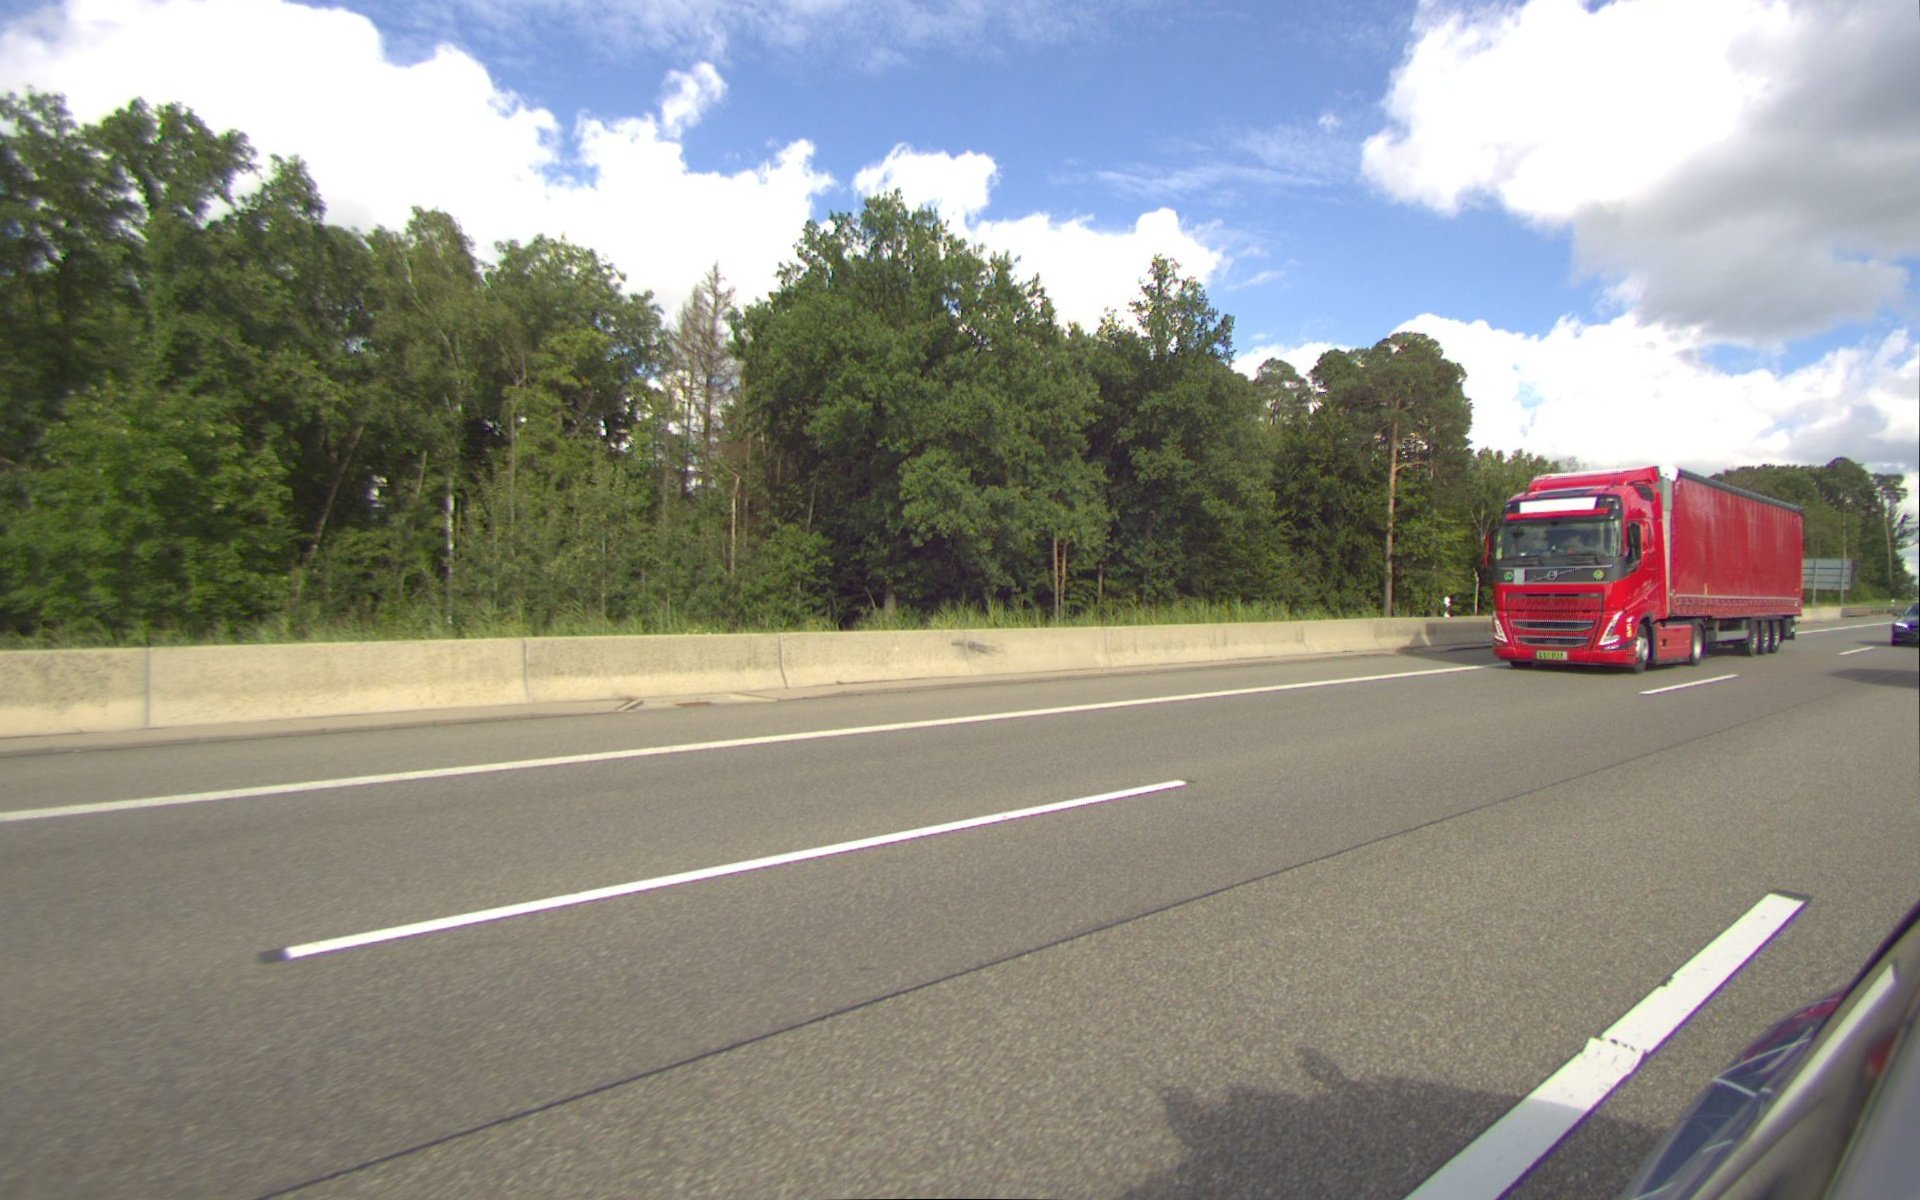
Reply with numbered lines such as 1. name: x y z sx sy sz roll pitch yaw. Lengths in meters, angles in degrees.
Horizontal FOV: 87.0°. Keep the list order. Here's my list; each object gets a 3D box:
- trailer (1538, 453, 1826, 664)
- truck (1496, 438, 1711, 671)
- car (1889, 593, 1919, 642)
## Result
1. trailer: 18.736 -0.856 25.557 14.123 4.171 2.530 0 0 -40
2. truck: 13.364 -0.847 20.931 4.572 4.255 2.530 0 0 -41
3. car: 31.100 0.530 32.097 3.930 1.460 1.997 -1 1 -41
